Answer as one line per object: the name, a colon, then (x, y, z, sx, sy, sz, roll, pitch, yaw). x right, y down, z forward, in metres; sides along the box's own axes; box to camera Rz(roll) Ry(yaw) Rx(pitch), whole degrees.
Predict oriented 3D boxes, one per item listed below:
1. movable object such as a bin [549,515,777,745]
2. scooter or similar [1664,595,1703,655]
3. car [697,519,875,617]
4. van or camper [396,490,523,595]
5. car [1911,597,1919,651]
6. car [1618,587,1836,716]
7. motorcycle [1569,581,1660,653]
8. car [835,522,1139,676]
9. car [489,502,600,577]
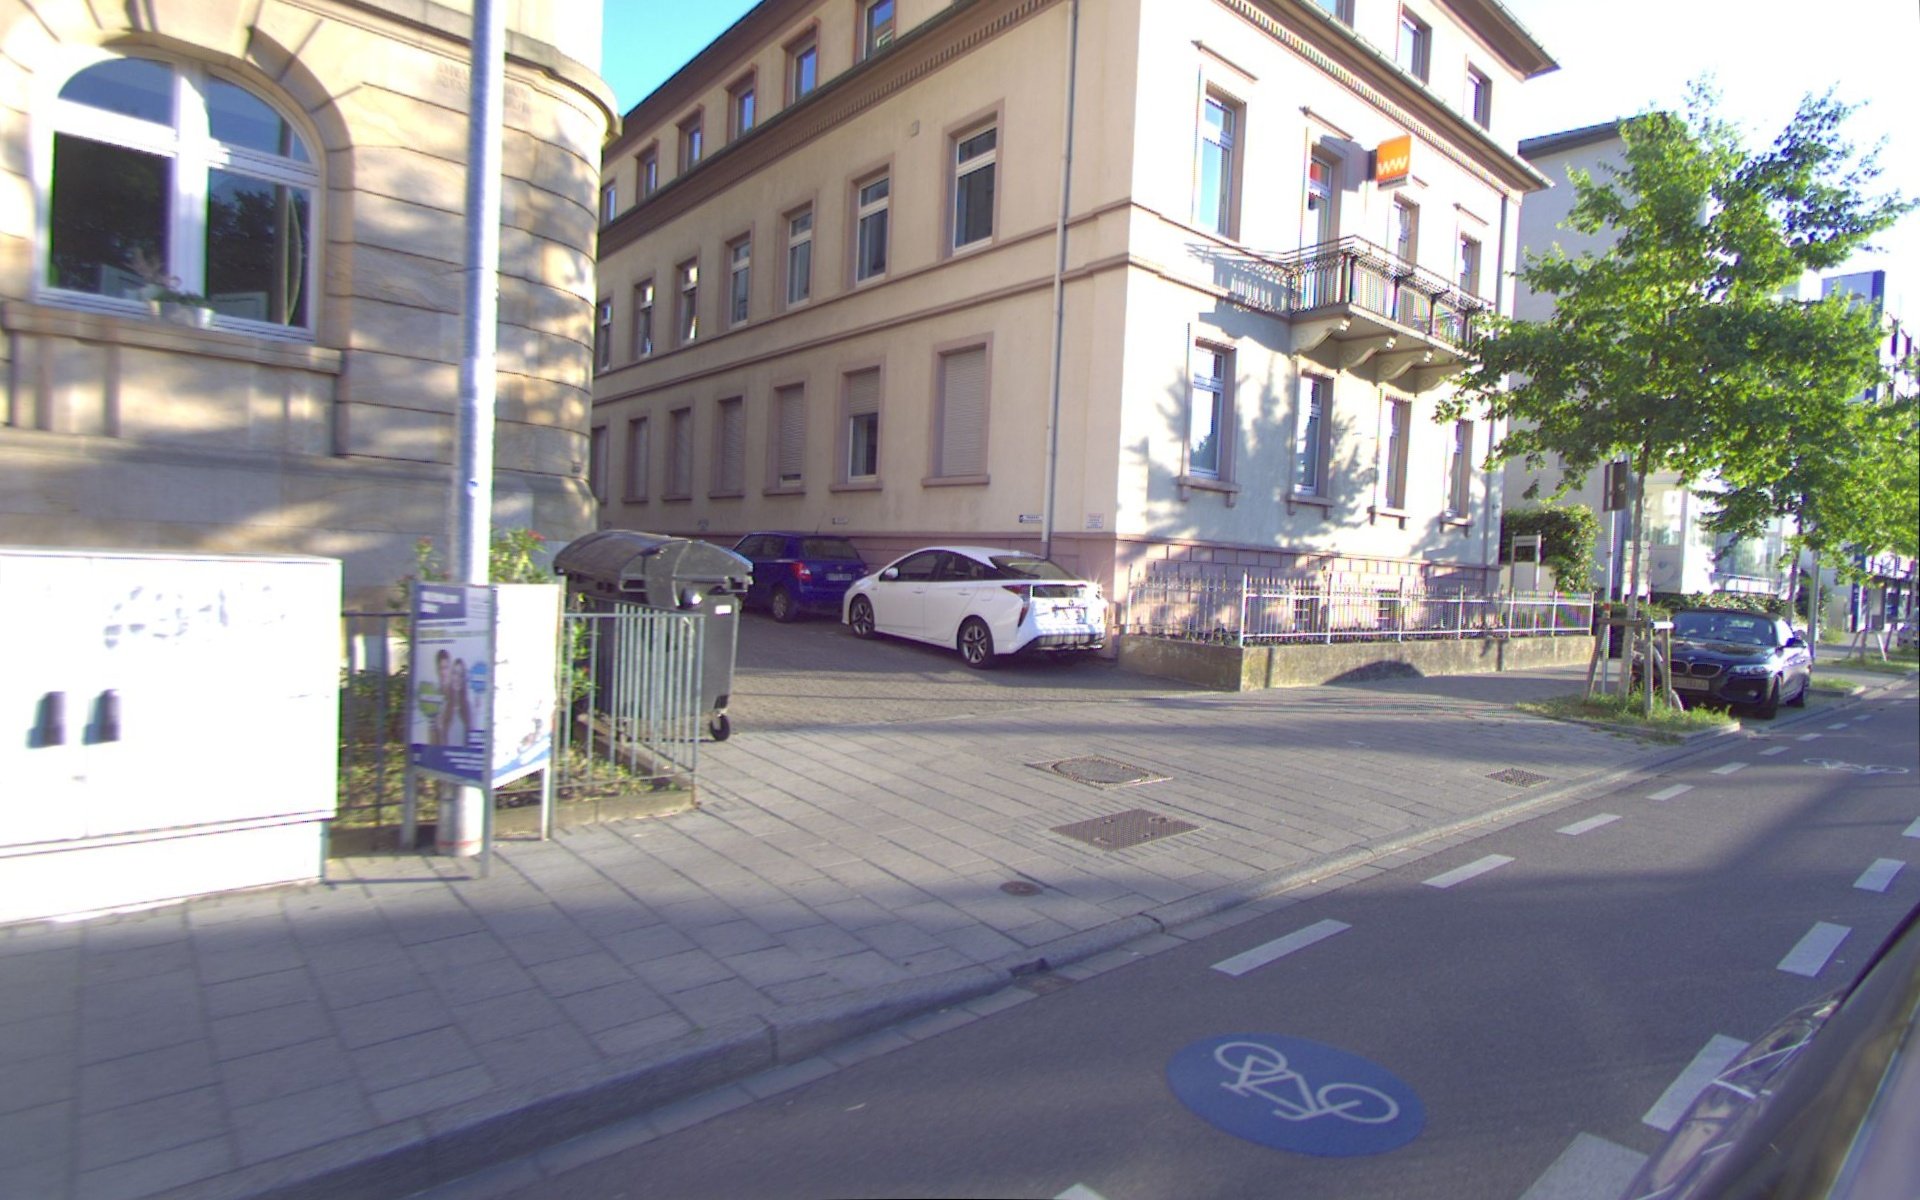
movable object such as a bin: (-2.164, 0.169, 7.336, 1.105, 1.480, 1.261, 1, 1, -44)
scooter or similar: (16.050, 0.536, 22.439, 1.188, 1.274, 0.491, 0, 1, -45)
car: (-3.148, -0.601, 17.813, 1.470, 1.501, 3.559, 1, 4, -39)
van or camper: (-17.123, -1.908, 34.434, 2.371, 3.203, 6.216, 1, 2, -41)
car: (33.206, 0.878, 33.718, 4.181, 1.727, 1.858, 1, 3, -43)
car: (11.419, 0.666, 14.951, 4.371, 1.488, 1.796, 1, 5, -44)
motorcycle: (14.373, 0.355, 22.249, 0.616, 1.430, 1.498, 3, 3, -44)
car: (0.199, -0.118, 13.969, 1.881, 1.589, 4.210, 1, 5, -38)
car: (-11.563, -1.649, 28.000, 1.781, 1.872, 4.136, 1, 2, -38)
